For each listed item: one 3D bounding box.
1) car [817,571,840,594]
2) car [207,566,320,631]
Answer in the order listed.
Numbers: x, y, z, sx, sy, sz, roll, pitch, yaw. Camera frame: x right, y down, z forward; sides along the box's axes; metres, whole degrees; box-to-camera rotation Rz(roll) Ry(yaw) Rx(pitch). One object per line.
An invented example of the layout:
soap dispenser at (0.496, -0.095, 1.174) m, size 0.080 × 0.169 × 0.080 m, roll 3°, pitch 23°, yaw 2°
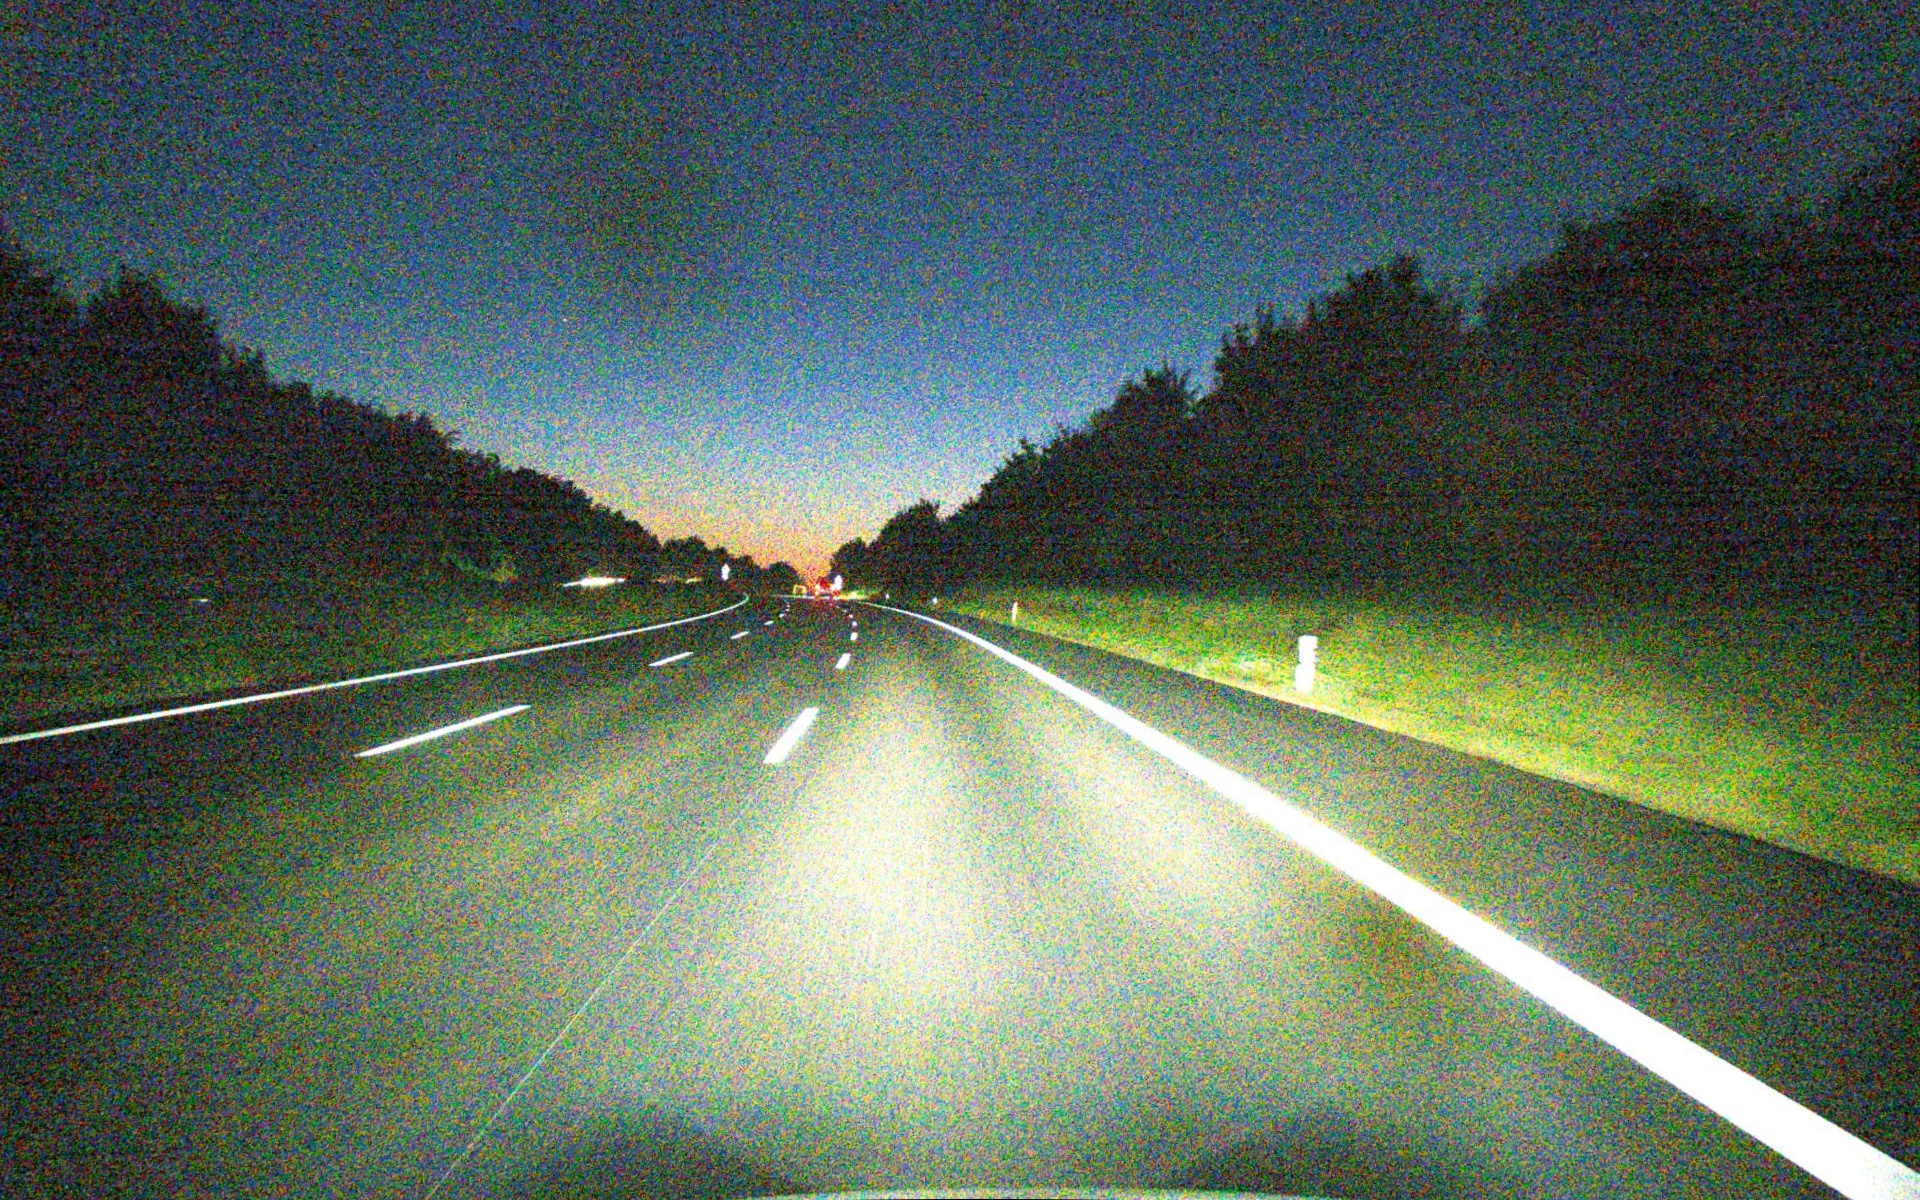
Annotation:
car at (-15.671, -2.058, 196.401) m, size 2.479 × 2.597 × 6.043 m, roll 3°, pitch 0°, yaw -6°
car at (-21.398, -0.060, 50.974) m, size 1.954 × 1.887 × 4.074 m, roll 0°, pitch 0°, yaw -3°
